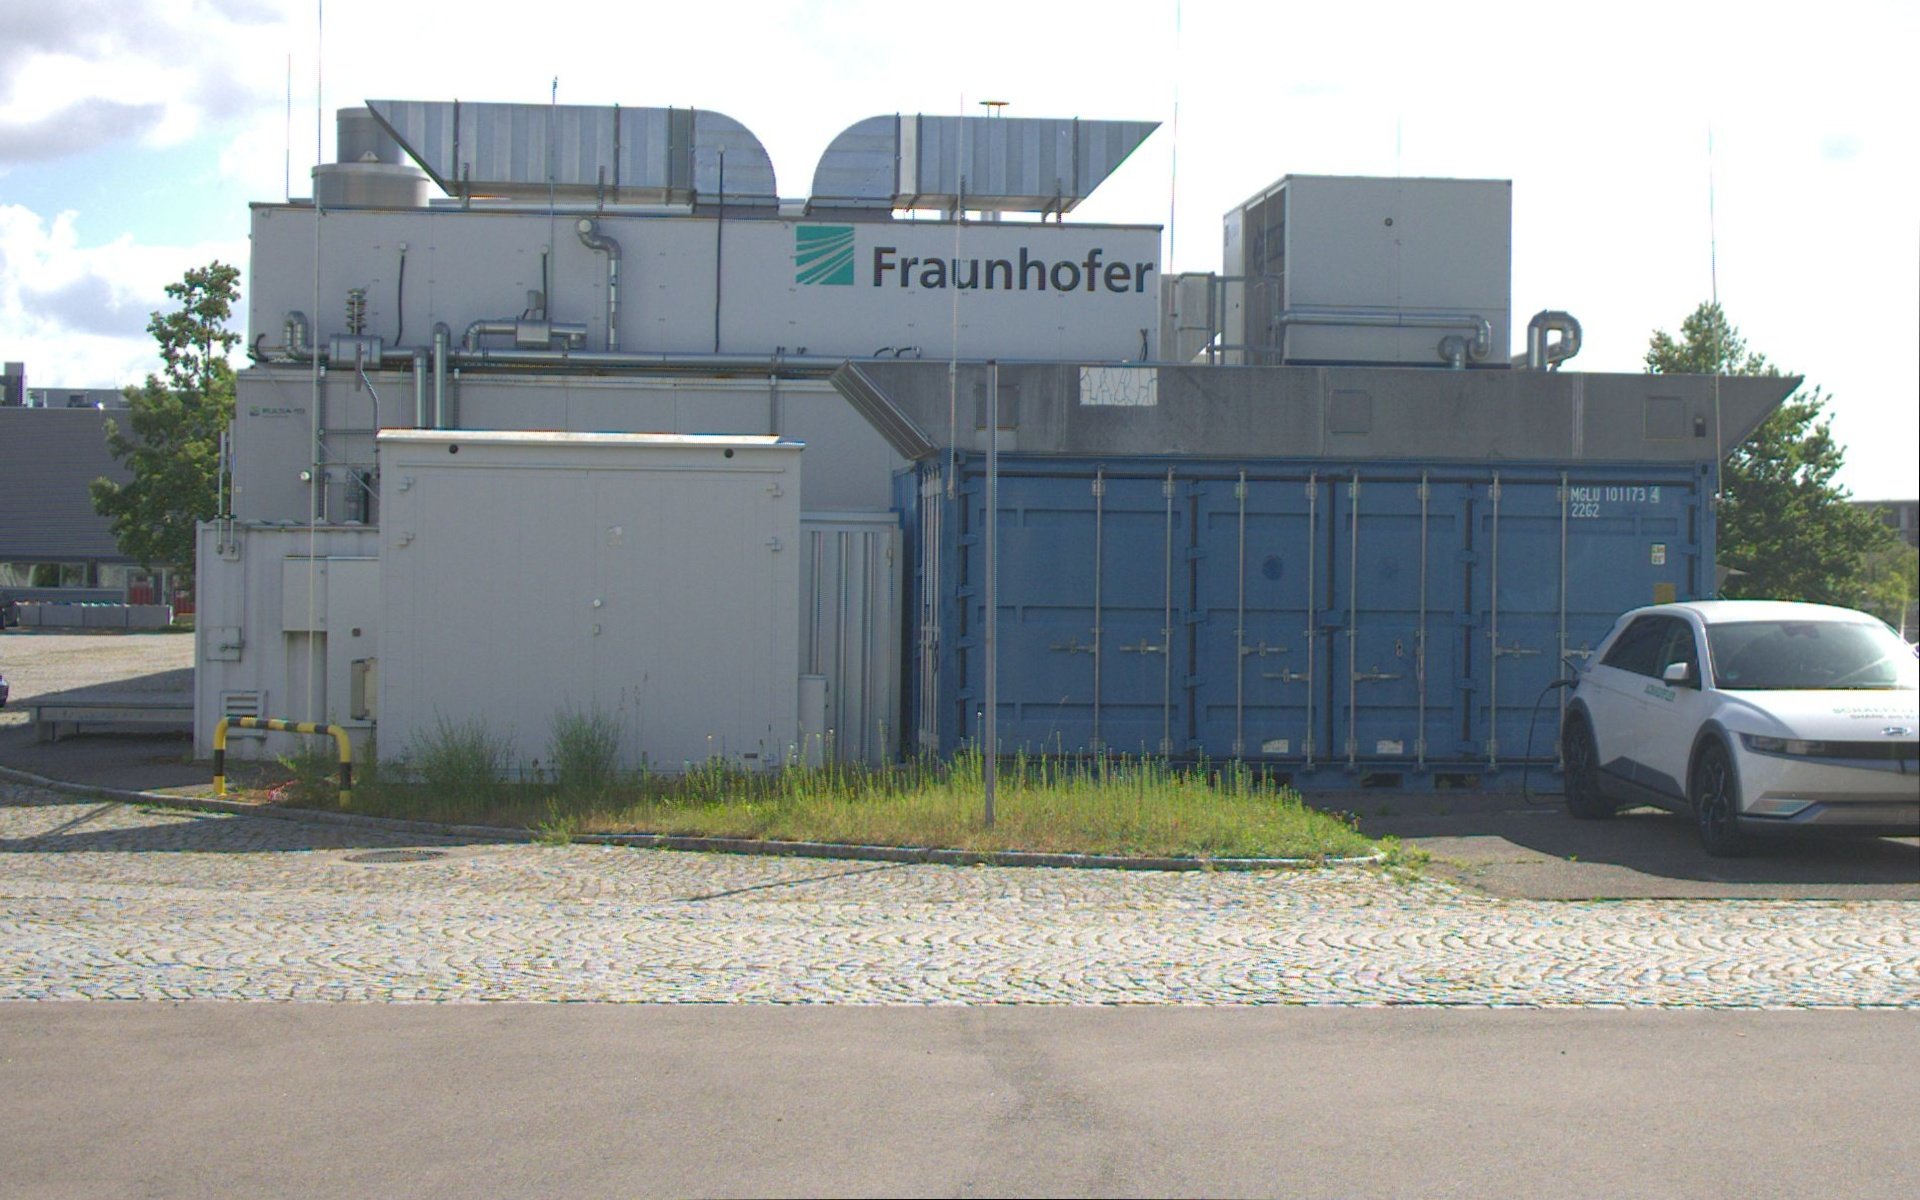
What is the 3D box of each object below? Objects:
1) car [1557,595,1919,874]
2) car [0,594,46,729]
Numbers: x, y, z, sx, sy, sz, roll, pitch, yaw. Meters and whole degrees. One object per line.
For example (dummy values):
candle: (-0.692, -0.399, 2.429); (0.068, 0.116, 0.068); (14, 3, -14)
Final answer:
car: (5.600, 0.826, 23.122); (1.980, 1.588, 4.341); (1, 1, -6)
car: (-12.395, 0.662, 37.300); (4.529, 1.438, 1.904); (1, -2, -5)
